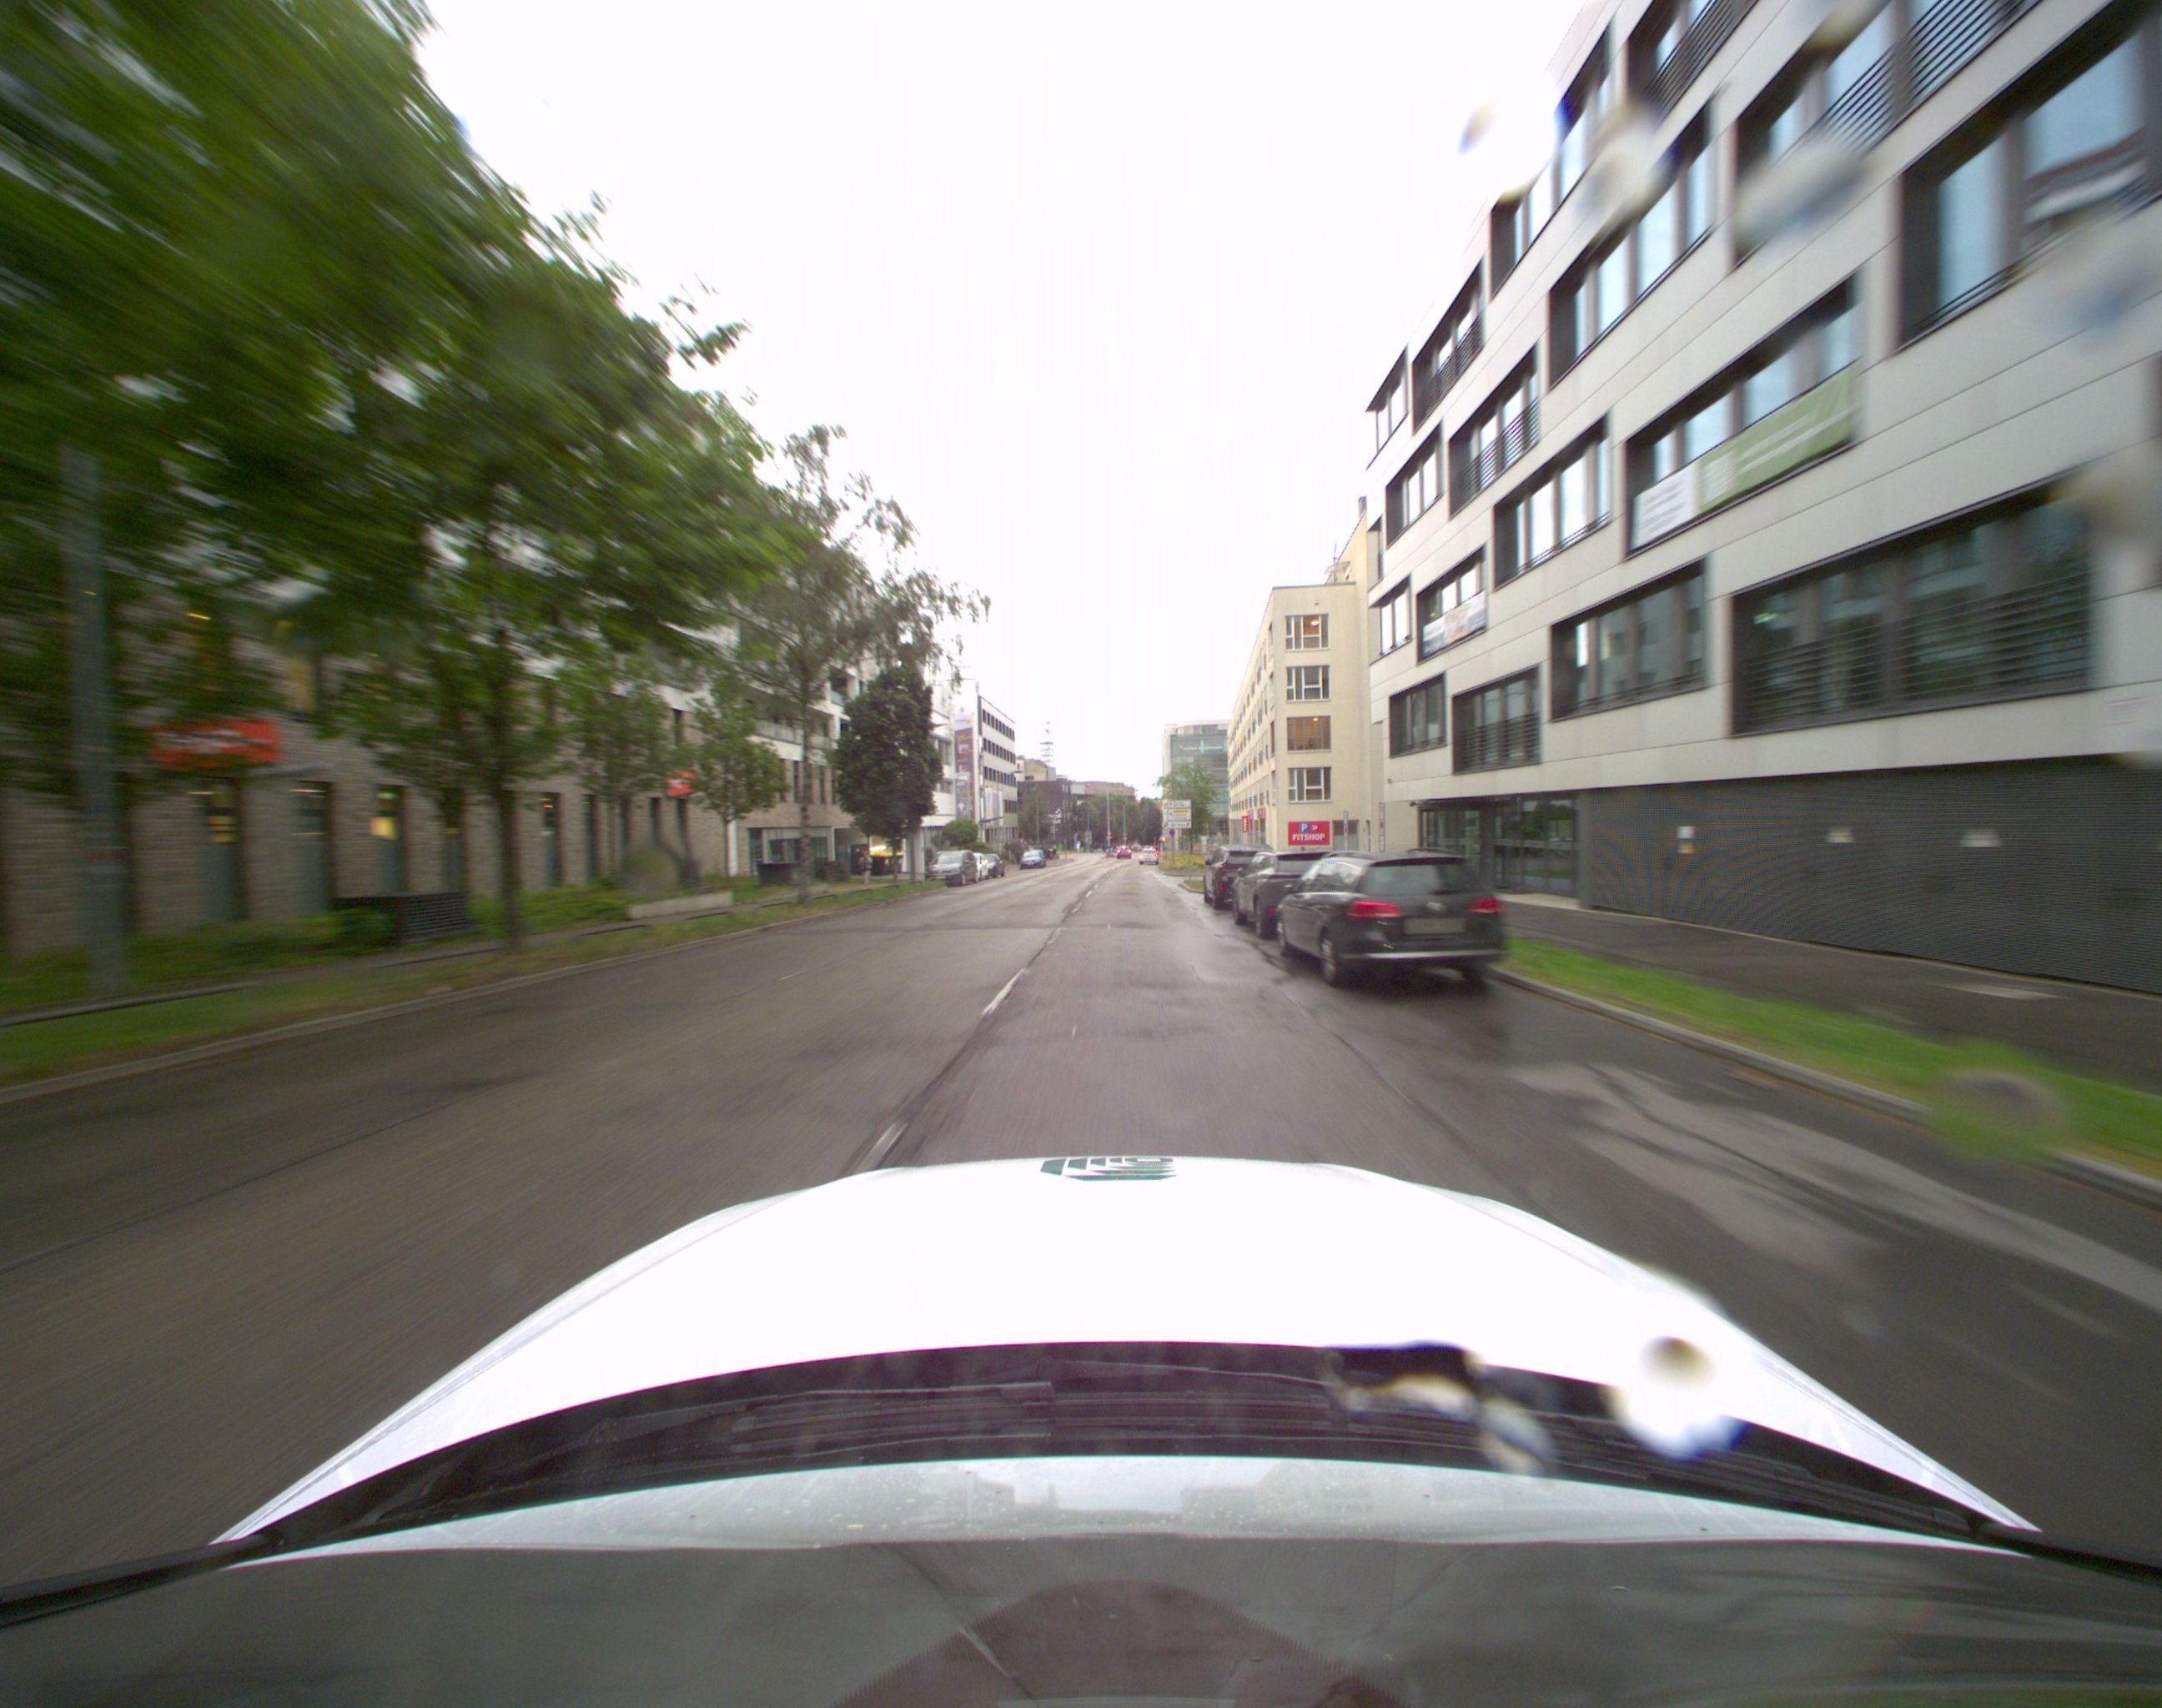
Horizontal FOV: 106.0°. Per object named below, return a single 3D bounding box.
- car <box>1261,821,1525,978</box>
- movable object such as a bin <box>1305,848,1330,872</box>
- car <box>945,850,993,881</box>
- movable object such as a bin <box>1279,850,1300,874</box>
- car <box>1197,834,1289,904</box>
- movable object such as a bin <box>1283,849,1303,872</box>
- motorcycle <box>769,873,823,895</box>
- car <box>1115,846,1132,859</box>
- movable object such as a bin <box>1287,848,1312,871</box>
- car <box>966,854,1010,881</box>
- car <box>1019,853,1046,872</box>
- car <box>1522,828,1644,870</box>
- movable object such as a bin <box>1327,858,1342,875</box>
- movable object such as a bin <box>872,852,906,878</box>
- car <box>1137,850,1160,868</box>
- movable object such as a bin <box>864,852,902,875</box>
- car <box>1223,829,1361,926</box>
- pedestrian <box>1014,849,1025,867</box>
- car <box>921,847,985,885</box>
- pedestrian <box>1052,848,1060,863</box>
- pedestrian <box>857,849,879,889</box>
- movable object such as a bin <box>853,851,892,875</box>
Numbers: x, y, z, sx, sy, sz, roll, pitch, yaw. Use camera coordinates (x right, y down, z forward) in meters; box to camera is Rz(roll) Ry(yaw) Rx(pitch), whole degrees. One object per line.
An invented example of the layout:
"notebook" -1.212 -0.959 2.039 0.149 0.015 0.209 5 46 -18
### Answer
"car" 3.665 0.498 10.619 1.800 1.563 4.850 -1 -1 3
"movable object such as a bin" 14.475 0.358 49.891 1.254 1.402 1.114 -1 -1 5
"car" -5.989 0.591 43.976 1.766 1.600 4.035 -1 0 3
"movable object such as a bin" 13.112 0.500 51.243 1.168 1.503 1.015 -1 -1 6
"car" 4.250 0.348 22.026 1.800 1.679 4.716 -1 0 3
"movable object such as a bin" 13.066 0.403 50.115 1.016 1.402 1.059 -1 -1 5
"motorcycle" -11.185 1.190 31.951 1.986 0.808 0.721 -1 -1 21
"car" 5.748 -0.203 109.306 2.132 1.728 4.003 -1 -1 3
"movable object such as a bin" 13.117 0.311 48.994 1.229 1.320 1.193 -2 -1 5
"car" -5.505 0.805 48.689 1.788 1.516 4.251 -1 -1 5
"car" -4.008 0.741 68.261 1.907 1.481 4.356 -1 -1 1
"car" 21.083 -0.219 34.356 3.966 1.615 1.897 2 0 6
"movable object such as a bin" 15.497 0.754 49.717 0.695 1.027 0.854 -1 0 6
"movable object such as a bin" -12.376 0.710 52.601 1.790 1.510 1.481 -3 -1 0
"car" 6.256 0.448 75.582 1.985 1.577 3.999 -1 0 3
"movable object such as a bin" -12.440 0.615 51.106 2.047 1.423 1.316 0 -1 0
"car" 3.910 0.424 15.824 1.741 1.605 4.377 -1 -1 3
"pedestrian" -5.802 0.391 76.539 0.731 1.708 0.896 -1 -2 -24
"car" -6.016 0.534 38.717 2.069 1.609 4.688 -2 0 2
"pedestrian" -3.412 0.186 110.955 0.959 1.955 0.776 -1 -1 -9
"pedestrian" -9.296 0.647 35.545 0.706 1.683 0.956 -1 0 -1
"movable object such as a bin" -12.686 0.534 49.682 2.020 1.430 1.290 1 -1 0
